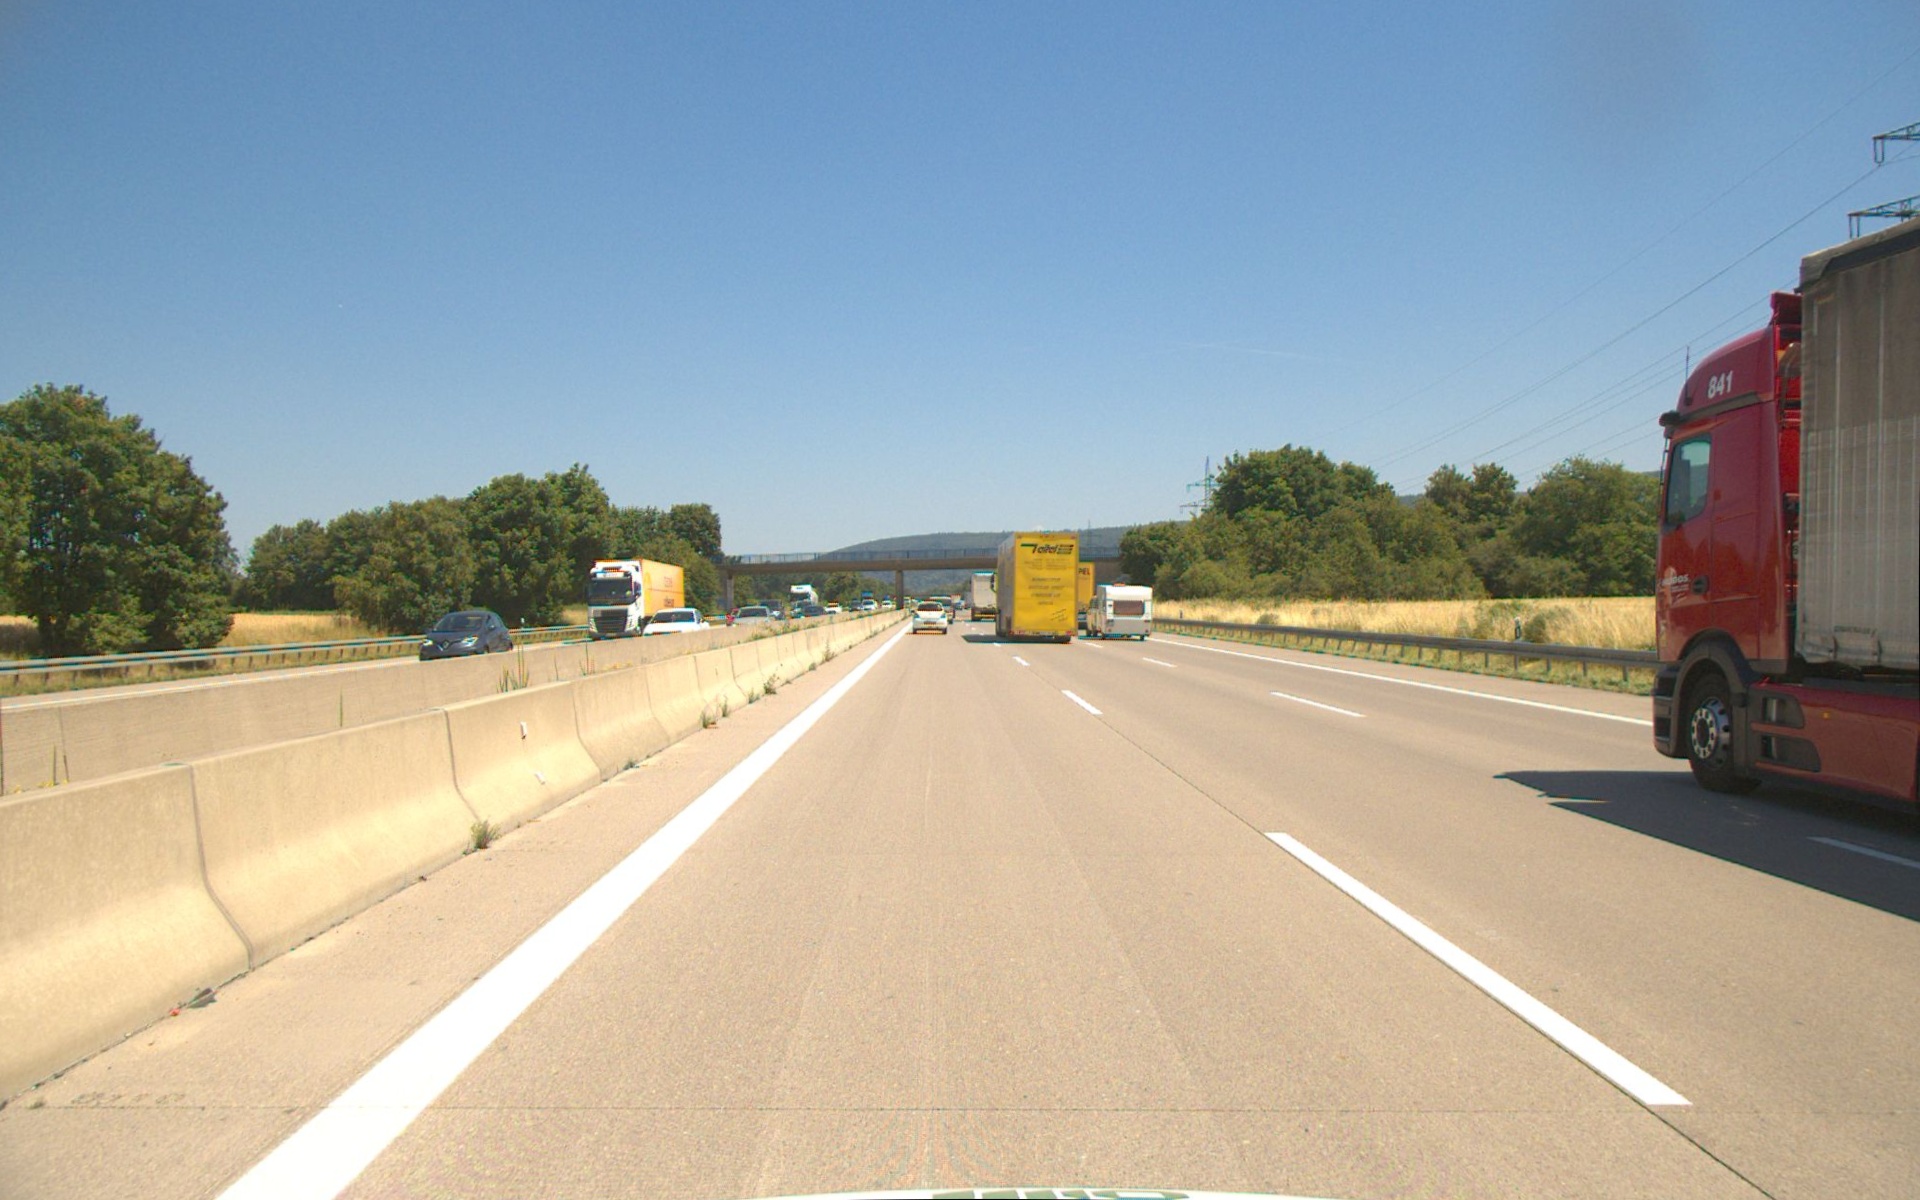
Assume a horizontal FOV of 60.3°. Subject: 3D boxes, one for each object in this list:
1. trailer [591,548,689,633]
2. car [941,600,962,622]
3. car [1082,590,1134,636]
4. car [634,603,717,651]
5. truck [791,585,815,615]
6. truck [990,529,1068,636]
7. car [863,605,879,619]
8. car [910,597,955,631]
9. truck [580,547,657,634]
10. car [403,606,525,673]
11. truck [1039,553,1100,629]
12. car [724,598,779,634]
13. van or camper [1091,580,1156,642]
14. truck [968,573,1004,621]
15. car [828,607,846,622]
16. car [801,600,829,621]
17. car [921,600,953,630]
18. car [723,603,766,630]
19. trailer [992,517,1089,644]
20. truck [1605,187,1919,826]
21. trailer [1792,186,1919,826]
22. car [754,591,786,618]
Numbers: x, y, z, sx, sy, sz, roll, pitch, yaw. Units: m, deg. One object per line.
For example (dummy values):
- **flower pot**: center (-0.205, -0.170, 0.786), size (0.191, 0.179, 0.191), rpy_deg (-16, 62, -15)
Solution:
- **trailer**: center (-17.588, -0.481, 92.023), size (2.814, 4.271, 14.137), rpy_deg (-2, 0, -1)
- **car**: center (-0.827, 1.074, 162.281), size (1.953, 2.049, 3.999), rpy_deg (1, 0, -1)
- **car**: center (6.887, 0.602, 77.179), size (1.953, 2.049, 3.999), rpy_deg (1, 0, -1)
- **car**: center (-9.240, 0.847, 54.080), size (1.953, 1.388, 4.669), rpy_deg (-2, 0, -1)
- **truck**: center (-19.324, 0.020, 203.898), size (2.549, 3.651, 4.718), rpy_deg (1, 0, -1)
- **truck**: center (3.059, -0.773, 75.161), size (3.150, 4.643, 5.835), rpy_deg (1, 0, -1)
- **car**: center (-11.715, 1.599, 217.395), size (1.953, 1.765, 5.113), rpy_deg (-2, 0, -1)
- **car**: center (-1.293, 0.654, 80.184), size (2.064, 1.563, 4.122), rpy_deg (1, 0, 0)
- **truck**: center (-17.436, -0.470, 84.727), size (2.810, 4.269, 5.228), rpy_deg (-2, 0, -1)
- **car**: center (-13.351, 1.017, 44.820), size (1.953, 1.587, 4.511), rpy_deg (-3, 0, -1)
- **truck**: center (6.703, -0.542, 102.336), size (2.938, 4.390, 9.682), rpy_deg (1, 0, -1)
- **car**: center (-9.432, 0.710, 75.005), size (1.953, 1.511, 4.709), rpy_deg (-1, 0, -1)
- **van or camper**: center (7.089, 0.454, 72.428), size (2.179, 2.575, 5.429), rpy_deg (1, 0, -1)
- **truck**: center (2.137, -0.248, 138.251), size (2.763, 3.827, 6.282), rpy_deg (1, 0, -1)
- **car**: center (-15.171, 1.784, 204.174), size (1.884, 1.639, 4.684), rpy_deg (-2, 0, -1)
- **car**: center (-10.136, 0.729, 115.821), size (1.656, 1.355, 3.999), rpy_deg (1, 0, -1)
- **car**: center (-1.611, 1.069, 118.056), size (2.208, 2.049, 4.297), rpy_deg (1, 0, 0)
- **car**: center (-12.401, 0.934, 95.412), size (1.953, 1.419, 4.716), rpy_deg (-2, 0, -1)
- **trailer**: center (3.136, -0.751, 68.262), size (3.150, 4.643, 13.455), rpy_deg (1, 0, -1)
- **truck**: center (7.649, -0.601, 12.624), size (2.847, 4.172, 6.270), rpy_deg (1, 0, -1)
- **trailer**: center (7.763, -0.579, 5.572), size (2.815, 4.172, 13.509), rpy_deg (1, 0, -1)
- **car**: center (-14.835, 0.306, 129.344), size (1.892, 2.035, 5.516), rpy_deg (1, 0, -1)
